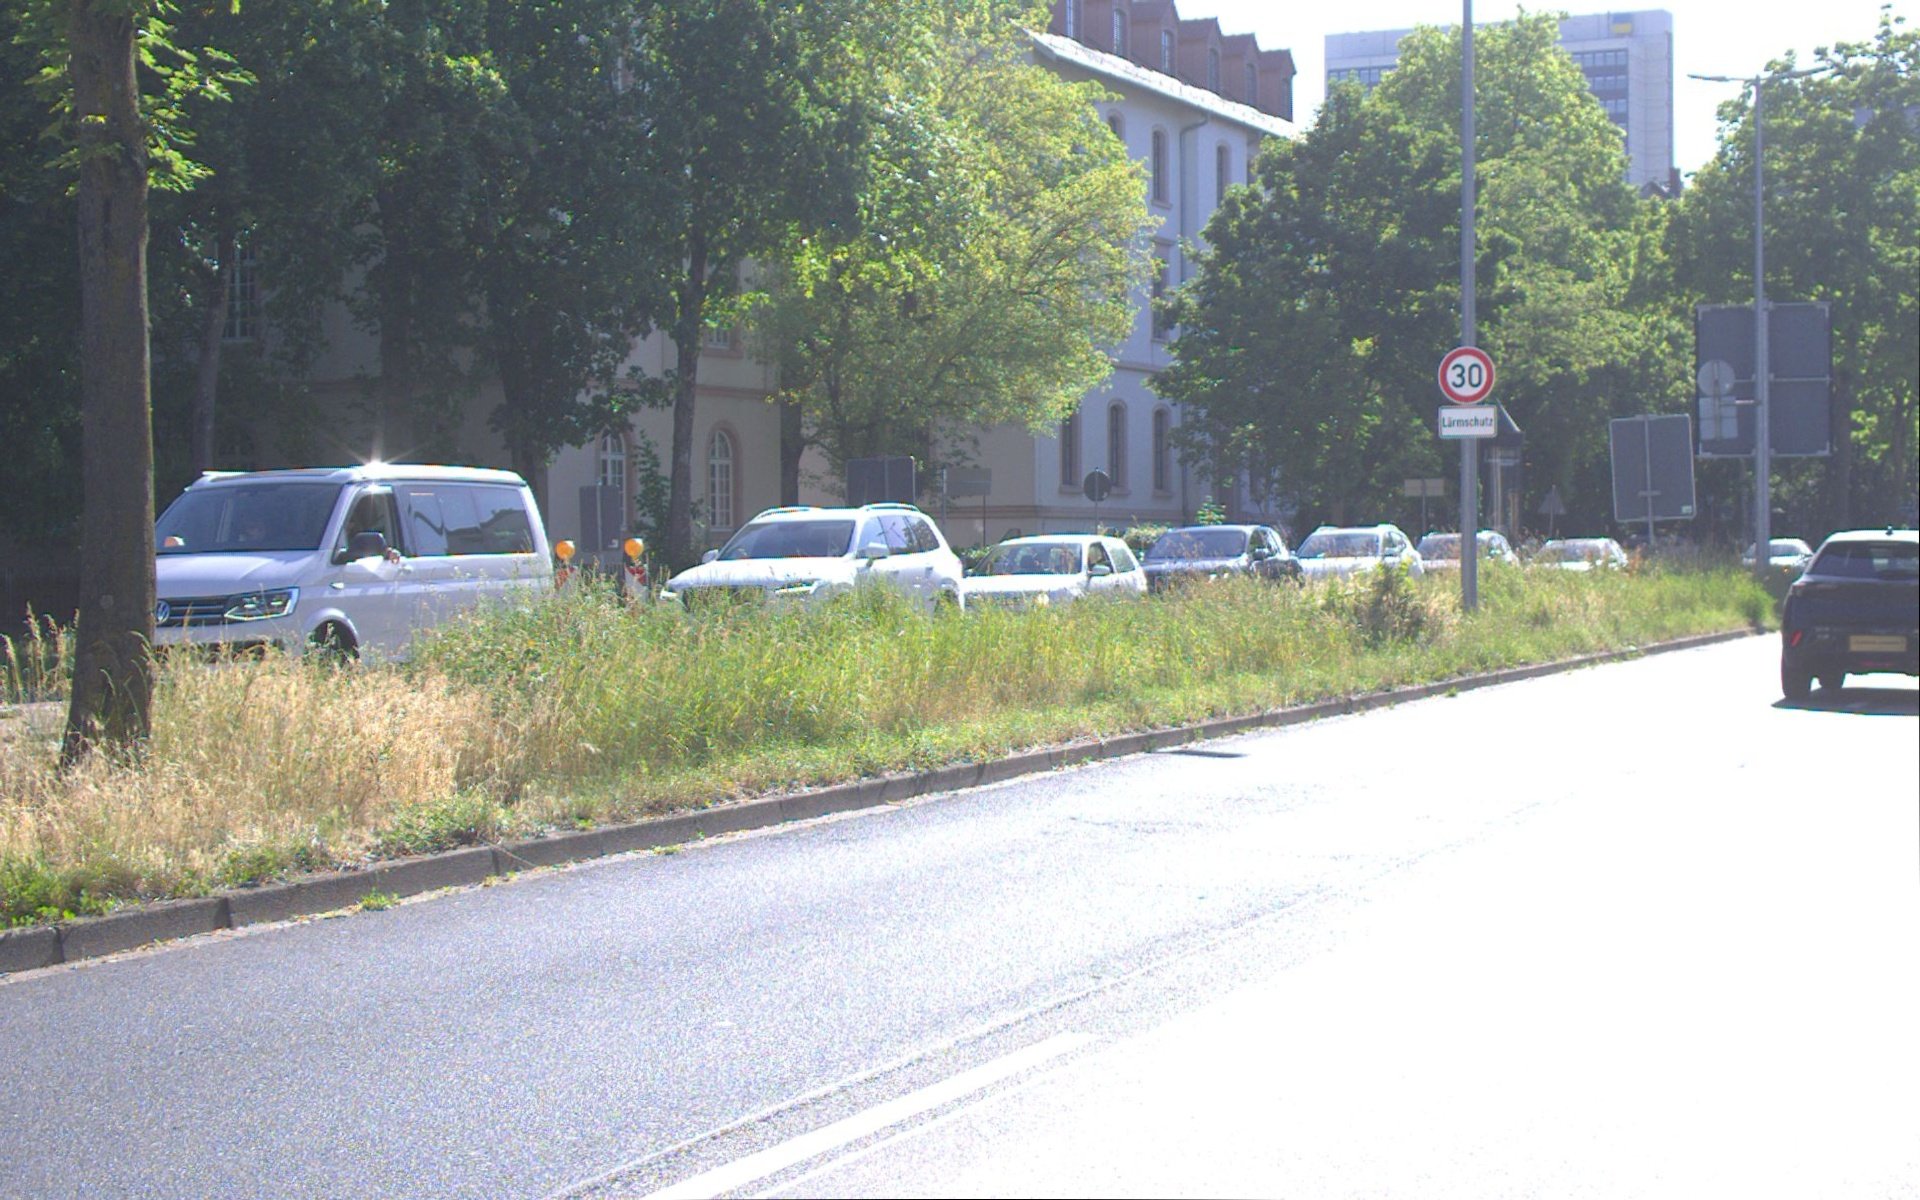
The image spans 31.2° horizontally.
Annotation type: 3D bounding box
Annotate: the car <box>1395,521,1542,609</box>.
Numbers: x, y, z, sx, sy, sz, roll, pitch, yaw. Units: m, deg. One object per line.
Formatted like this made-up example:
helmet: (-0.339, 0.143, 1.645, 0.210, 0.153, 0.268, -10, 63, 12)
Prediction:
car: (9.567, -0.633, 64.469, 1.797, 1.514, 4.253, 1, 0, 21)

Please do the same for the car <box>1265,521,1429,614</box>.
car: (6.581, -0.569, 58.066, 1.797, 1.514, 4.254, 1, 1, 20)

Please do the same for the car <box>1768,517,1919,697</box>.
car: (8.647, 0.032, 31.758, 1.896, 1.514, 3.996, 2, 2, 18)

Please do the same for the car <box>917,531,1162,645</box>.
car: (1.056, -0.178, 43.181, 1.797, 1.347, 4.254, 1, 1, 20)

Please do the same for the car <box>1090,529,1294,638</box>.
car: (3.438, -0.266, 50.145, 1.797, 1.514, 4.440, 1, 1, 20)

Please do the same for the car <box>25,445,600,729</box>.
car: (-4.974, -0.140, 27.275, 2.235, 2.021, 5.012, 1, 1, 20)

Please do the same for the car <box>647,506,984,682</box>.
car: (-1.434, -0.099, 36.518, 1.797, 1.737, 5.027, 0, 1, 20)
